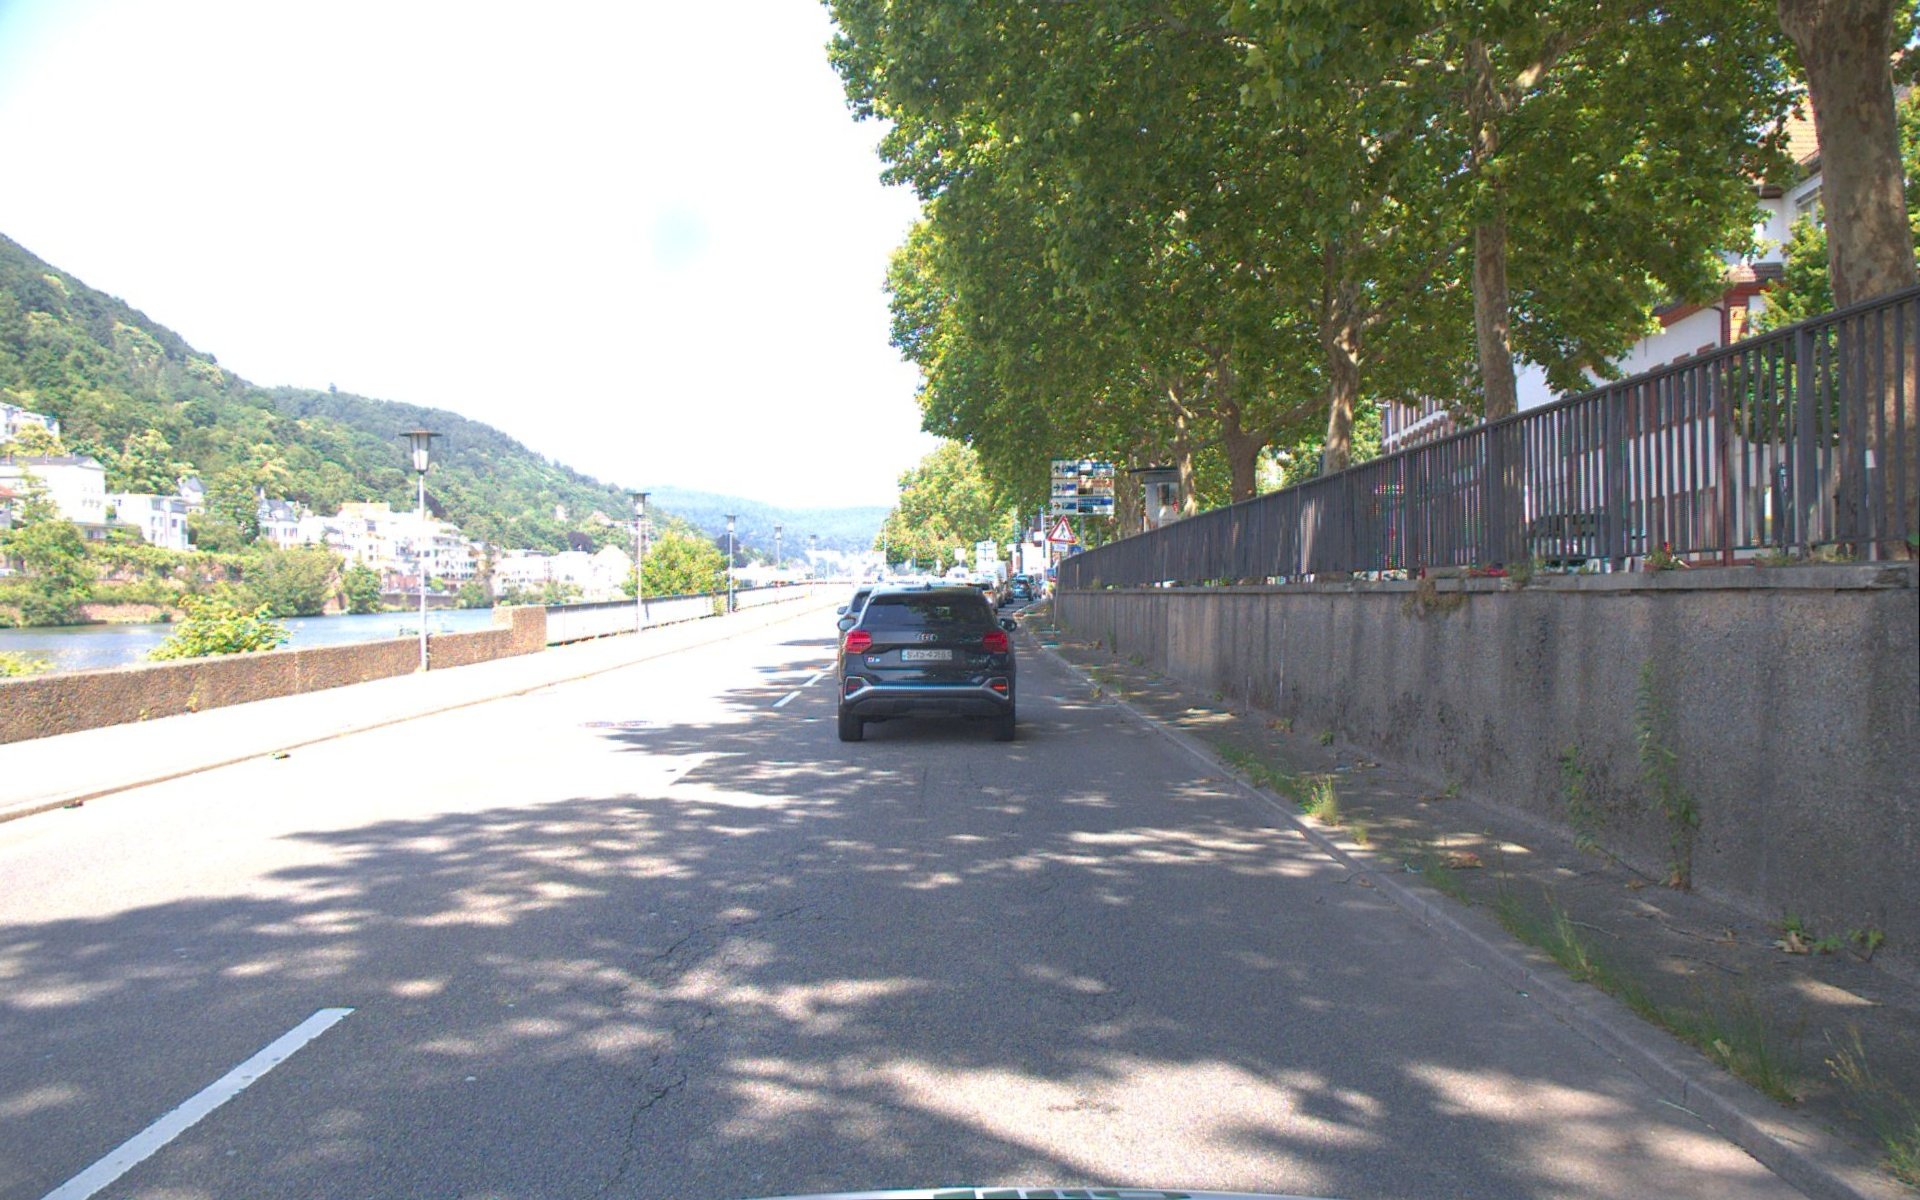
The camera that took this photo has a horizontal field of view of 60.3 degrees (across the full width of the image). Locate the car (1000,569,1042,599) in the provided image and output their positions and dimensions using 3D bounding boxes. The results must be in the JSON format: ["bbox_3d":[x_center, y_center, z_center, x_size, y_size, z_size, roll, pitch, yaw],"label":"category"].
[{"bbox_3d":[4.492,-1.169,122.668,2.608,2.048,5.823,-3,1,-1],"label":"car"}]

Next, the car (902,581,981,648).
[{"bbox_3d":[-0.454,0.304,39.575,1.791,1.512,3.999,0,0,-1],"label":"car"}]

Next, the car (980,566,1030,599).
[{"bbox_3d":[3.008,-1.182,112.550,3.036,2.048,5.823,-3,1,-1],"label":"car"}]

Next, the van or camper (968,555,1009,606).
[{"bbox_3d":[1.688,-1.158,99.750,2.263,2.896,4.246,-3,0,1],"label":"van or camper"}]

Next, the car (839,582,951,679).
[{"bbox_3d":[-1.078,0.467,28.408,1.791,1.537,3.999,0,0,-1],"label":"car"}]

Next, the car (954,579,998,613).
[{"bbox_3d":[0.679,-0.192,72.616,1.791,1.470,3.999,0,0,-1],"label":"car"}]

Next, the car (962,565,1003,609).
[{"bbox_3d":[1.211,-0.713,89.581,1.953,2.207,3.999,-3,0,-1],"label":"car"}]

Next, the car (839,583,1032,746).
[{"bbox_3d":[-0.269,0.586,17.445,1.791,1.512,3.999,0,0,-1],"label":"car"}]

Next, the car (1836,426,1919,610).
[{"bbox_3d":[9.152,-0.688,15.296,1.616,1.526,3.815,0,0,24],"label":"car"}]

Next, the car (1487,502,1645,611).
[{"bbox_3d":[9.120,-0.612,24.710,1.740,1.495,3.995,0,1,27],"label":"car"}]
